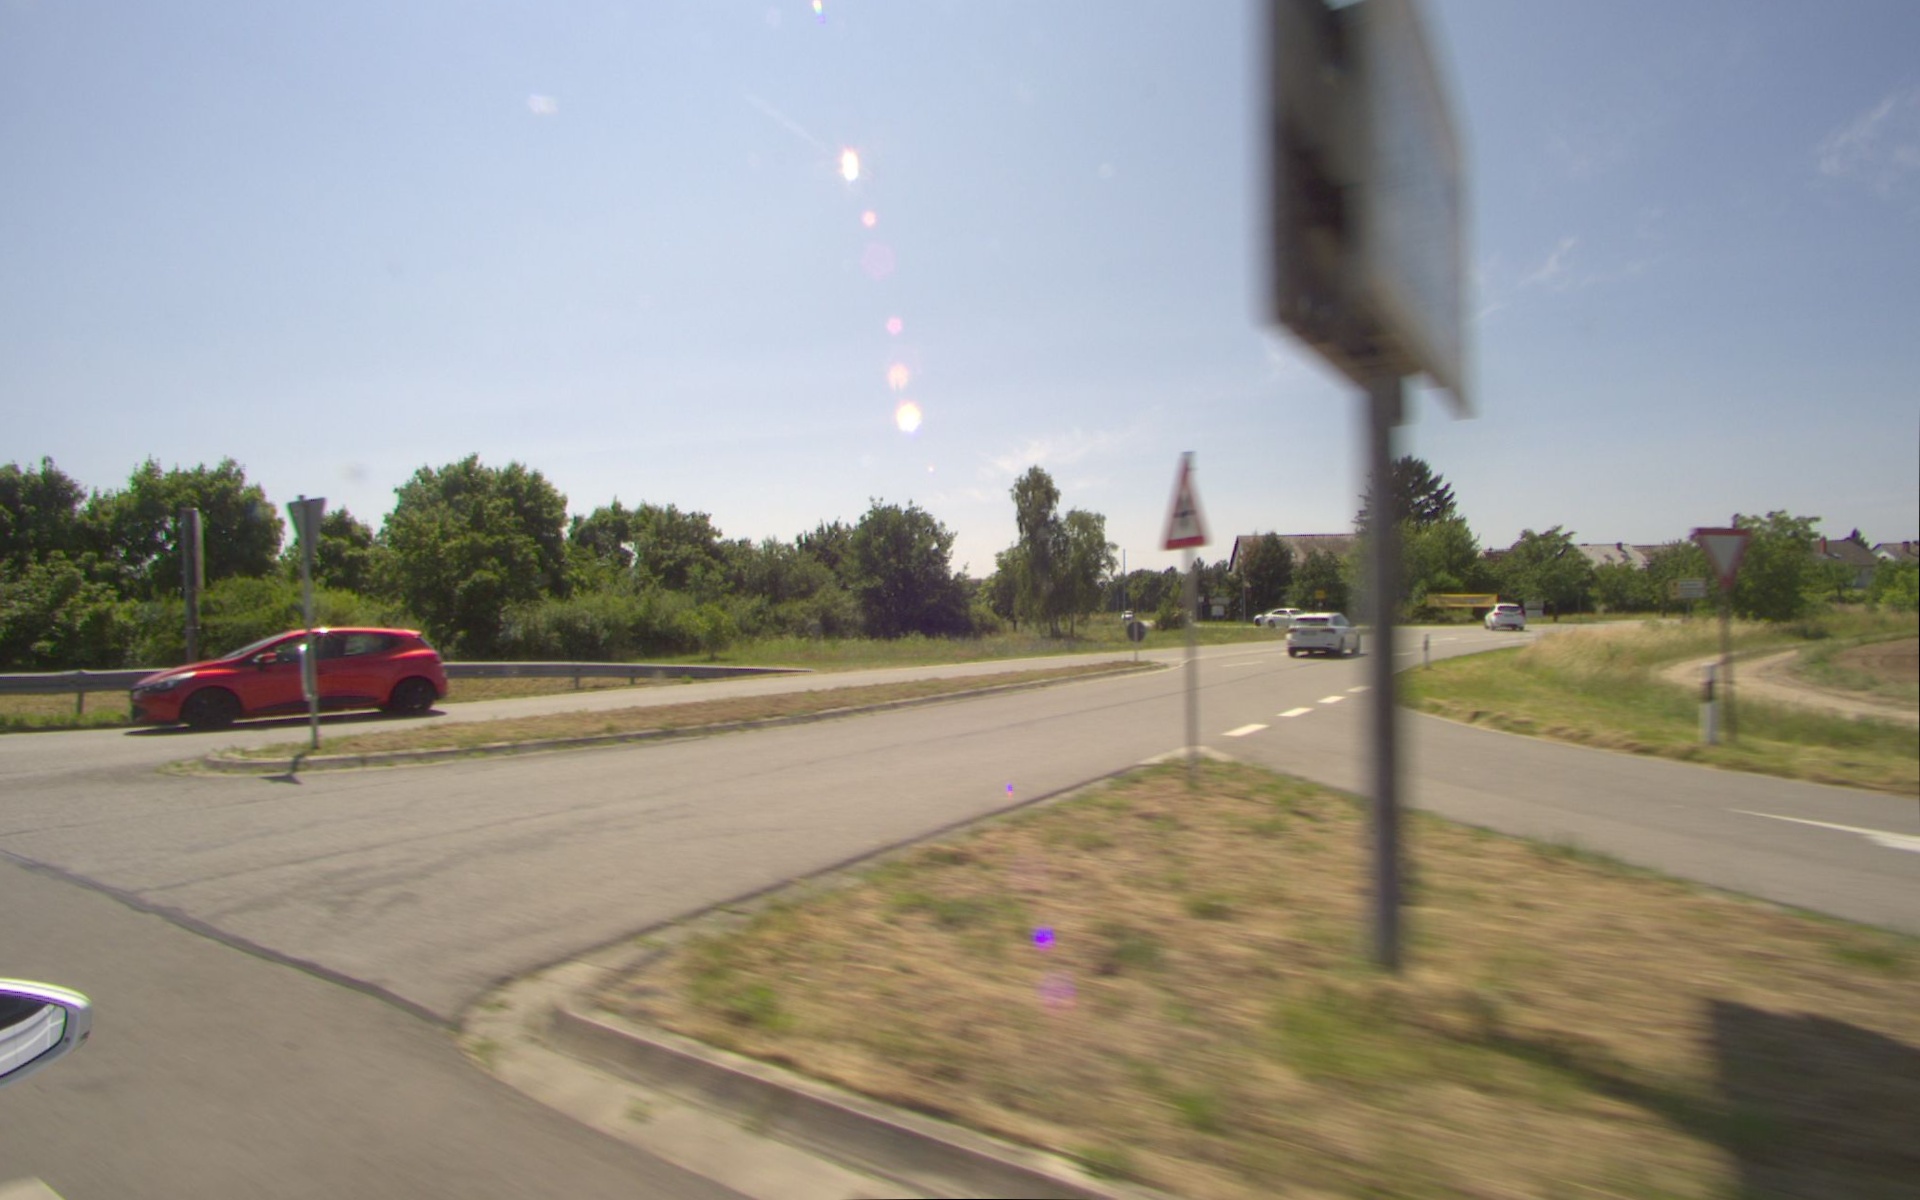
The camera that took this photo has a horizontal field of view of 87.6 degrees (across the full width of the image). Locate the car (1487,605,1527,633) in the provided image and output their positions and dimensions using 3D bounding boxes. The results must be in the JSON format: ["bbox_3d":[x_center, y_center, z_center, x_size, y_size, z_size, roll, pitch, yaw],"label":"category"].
[{"bbox_3d":[33.383,1.136,61.174,2.039,1.645,4.126,-1,-1,27],"label":"car"}]

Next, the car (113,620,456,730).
[{"bbox_3d":[-10.217,1.043,15.348,4.126,1.437,1.762,1,-2,-44],"label":"car"}]

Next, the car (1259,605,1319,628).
[{"bbox_3d":[24.880,1.256,75.842,1.617,1.645,4.752,0,-1,-23],"label":"car"}]

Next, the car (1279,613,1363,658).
[{"bbox_3d":[12.606,1.244,34.831,1.815,1.436,4.693,-1,-3,32],"label":"car"}]
